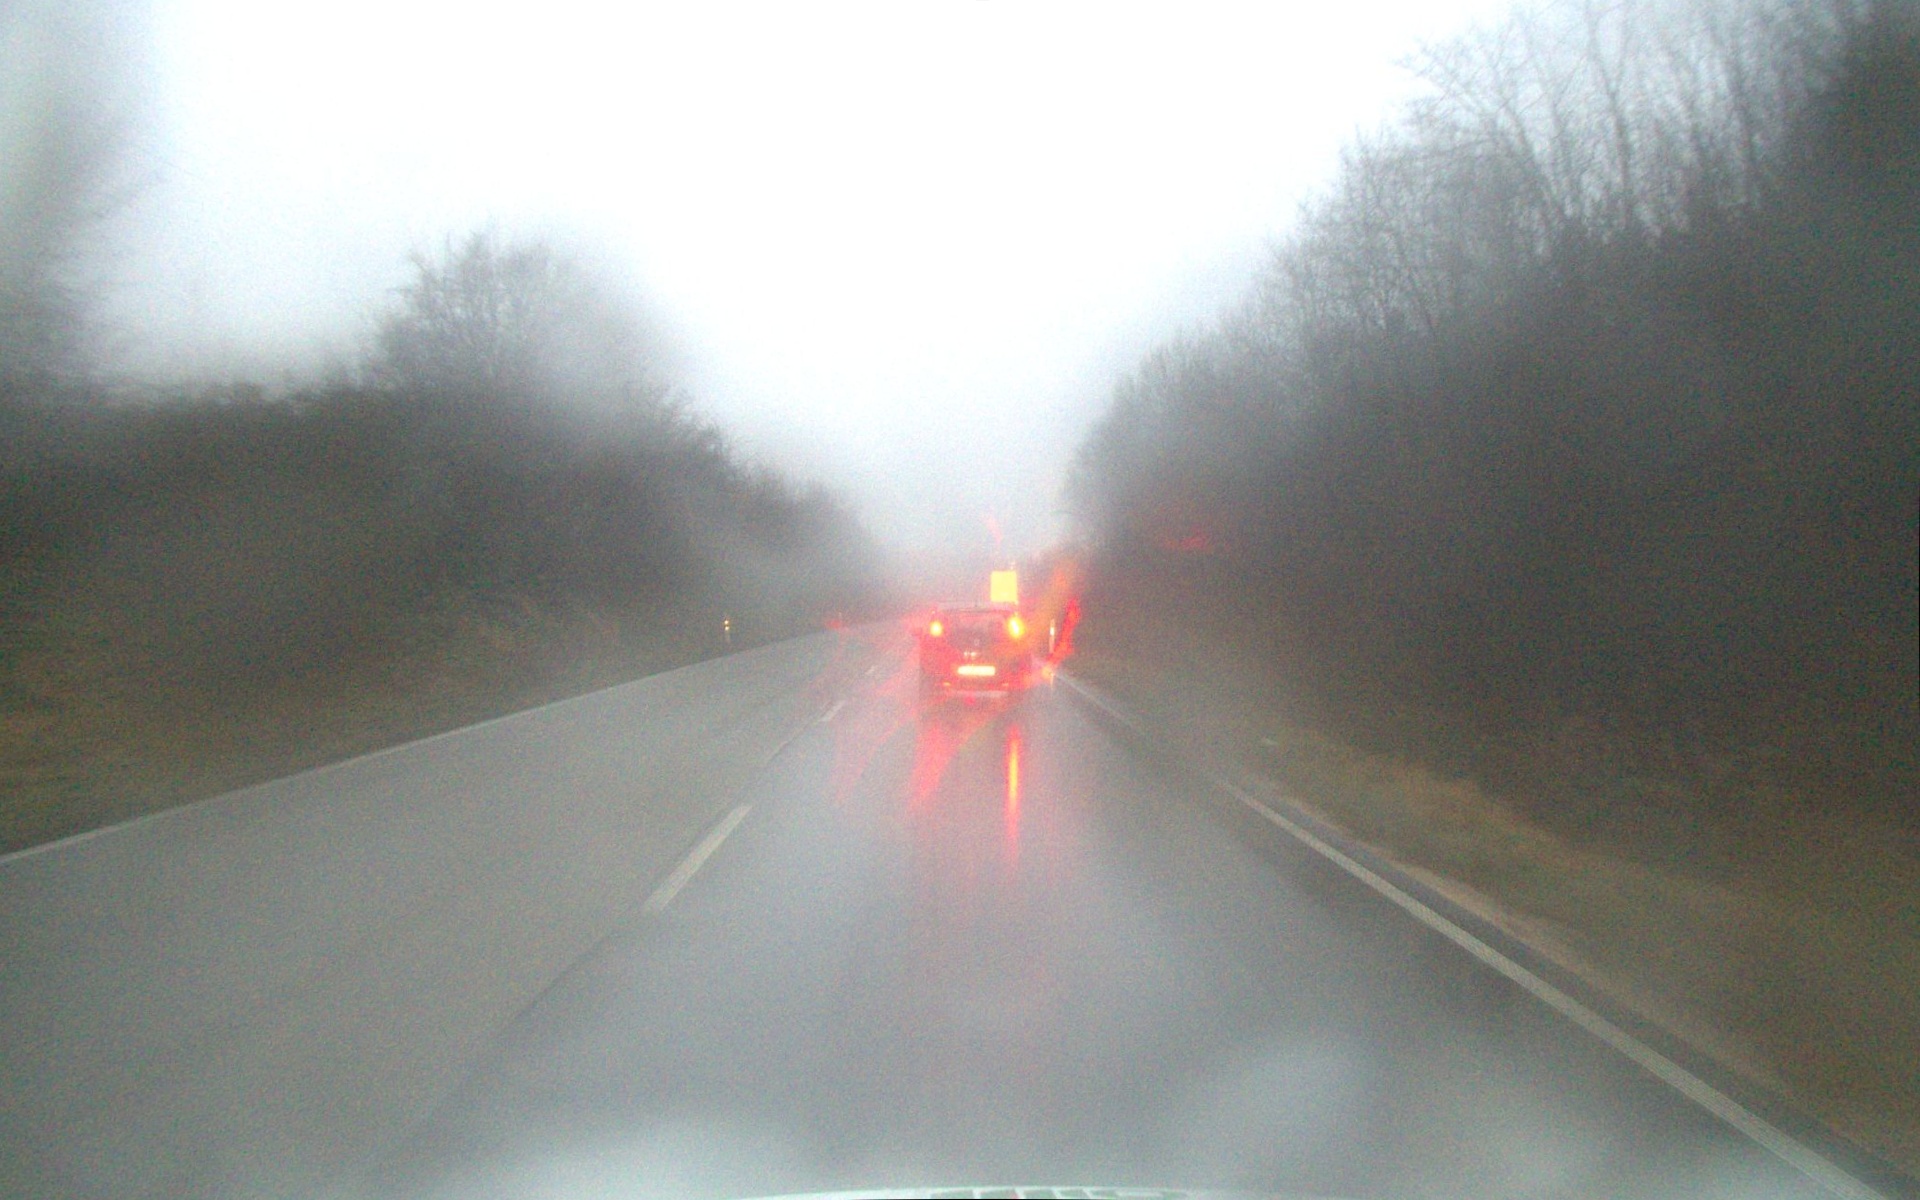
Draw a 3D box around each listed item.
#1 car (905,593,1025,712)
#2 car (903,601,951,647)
[{"bbox_3d":[0.093,0.745,25.383,1.692,1.672,4.000,0,0,1],"label":"car"},{"bbox_3d":[-1.238,0.903,63.255,1.692,1.672,4.000,0,0,1],"label":"car"}]
